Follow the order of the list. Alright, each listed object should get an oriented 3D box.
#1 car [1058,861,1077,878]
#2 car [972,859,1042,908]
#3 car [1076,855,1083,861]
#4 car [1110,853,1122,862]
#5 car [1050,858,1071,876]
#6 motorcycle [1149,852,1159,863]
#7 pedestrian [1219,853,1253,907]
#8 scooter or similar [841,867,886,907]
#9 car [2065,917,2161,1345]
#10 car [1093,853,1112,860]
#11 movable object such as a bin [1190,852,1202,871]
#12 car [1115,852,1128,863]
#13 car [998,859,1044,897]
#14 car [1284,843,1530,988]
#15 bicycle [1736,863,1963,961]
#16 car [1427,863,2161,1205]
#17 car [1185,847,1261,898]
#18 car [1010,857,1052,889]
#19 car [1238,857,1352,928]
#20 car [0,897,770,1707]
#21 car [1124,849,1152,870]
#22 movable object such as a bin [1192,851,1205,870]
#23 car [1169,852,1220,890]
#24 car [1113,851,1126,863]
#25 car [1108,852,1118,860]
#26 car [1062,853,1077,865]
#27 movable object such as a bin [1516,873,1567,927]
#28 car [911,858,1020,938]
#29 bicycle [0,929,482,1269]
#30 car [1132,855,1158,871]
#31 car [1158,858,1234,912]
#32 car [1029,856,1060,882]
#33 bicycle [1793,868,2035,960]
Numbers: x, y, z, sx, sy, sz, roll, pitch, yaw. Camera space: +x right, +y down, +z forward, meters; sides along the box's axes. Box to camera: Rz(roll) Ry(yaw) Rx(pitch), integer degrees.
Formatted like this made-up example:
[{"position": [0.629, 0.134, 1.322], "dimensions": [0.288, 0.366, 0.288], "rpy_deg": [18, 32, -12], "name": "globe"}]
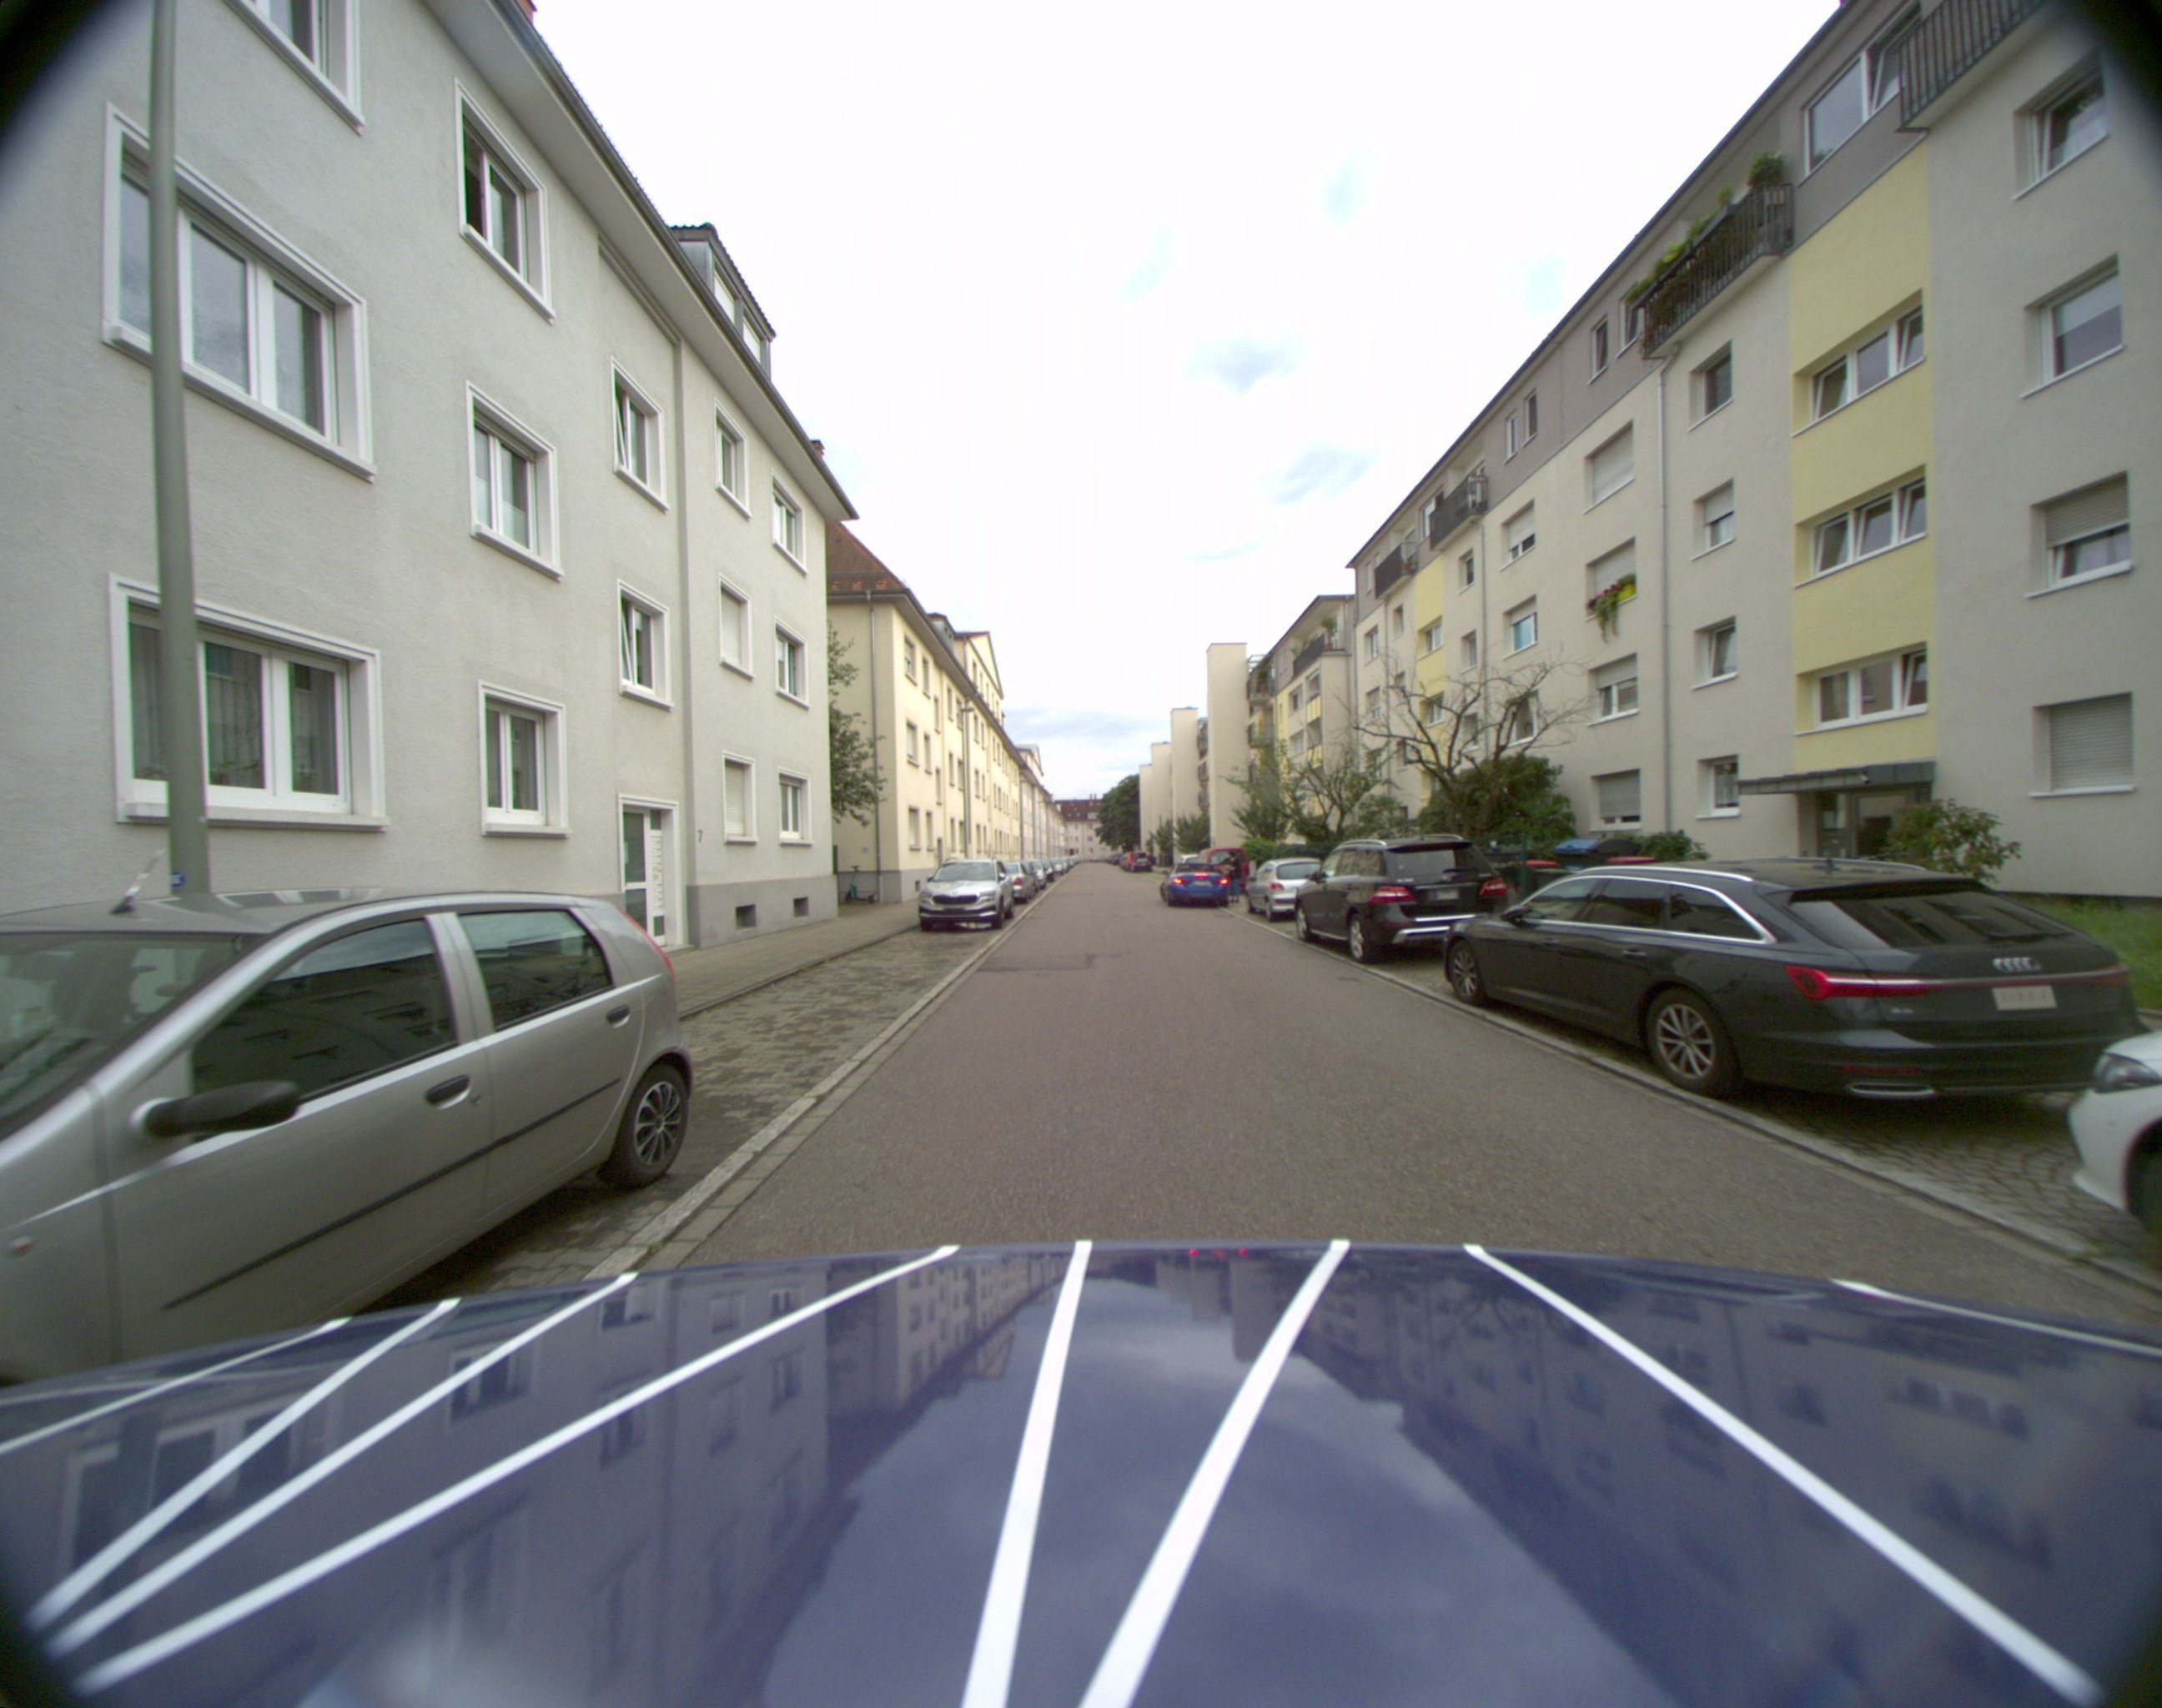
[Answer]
[{"position": [-1.328, 1.485, 74.726], "dimensions": [1.729, 1.483, 4.060], "rpy_deg": [-2, 0, 0], "name": "car"}, {"position": [-2.512, 0.977, 26.783], "dimensions": [1.729, 1.468, 4.505], "rpy_deg": [-2, 0, 3], "name": "car"}, {"position": [-0.370, 0.830, 172.185], "dimensions": [1.563, 1.334, 3.789], "rpy_deg": [-1, 0, 1], "name": "car"}, {"position": [6.578, 0.630, 143.663], "dimensions": [1.919, 1.431, 4.434], "rpy_deg": [-4, 0, -1], "name": "car"}, {"position": [-1.713, 1.100, 65.086], "dimensions": [1.729, 1.508, 4.060], "rpy_deg": [-1, 0, -1], "name": "car"}, {"position": [8.937, 0.473, 93.071], "dimensions": [0.871, 1.299, 2.420], "rpy_deg": [-3, 0, 1], "name": "motorcycle"}, {"position": [4.966, 0.813, 24.398], "dimensions": [0.744, 1.692, 0.795], "rpy_deg": [-1, 1, -20], "name": "pedestrian"}, {"position": [-7.089, 1.075, 24.771], "dimensions": [1.278, 1.238, 0.523], "rpy_deg": [-1, 0, 17], "name": "scooter or similar"}, {"position": [4.653, 0.917, 0.571], "dimensions": [1.900, 1.444, 4.520], "rpy_deg": [-4, 0, 0], "name": "car"}, {"position": [5.238, 0.587, 186.346], "dimensions": [4.545, 1.551, 1.565], "rpy_deg": [-1, 0, 5], "name": "car"}, {"position": [9.112, 0.607, 60.221], "dimensions": [0.805, 1.421, 1.288], "rpy_deg": [-3, 0, 3], "name": "movable object such as a bin"}, {"position": [6.189, 0.510, 115.825], "dimensions": [1.804, 1.617, 4.472], "rpy_deg": [-3, 0, 1], "name": "car"}, {"position": [-2.566, 1.014, 33.165], "dimensions": [1.607, 1.468, 3.869], "rpy_deg": [-2, 0, 1], "name": "car"}, {"position": [4.787, 0.786, 12.000], "dimensions": [1.900, 1.730, 4.474], "rpy_deg": [-4, 0, 1], "name": "car"}, {"position": [10.552, 0.737, 10.603], "dimensions": [0.790, 1.179, 2.355], "rpy_deg": [-1, 0, 1], "name": "bicycle"}, {"position": [4.756, 0.895, 5.976], "dimensions": [1.900, 1.444, 4.666], "rpy_deg": [-4, 0, 1], "name": "car"}, {"position": [5.455, 0.654, 29.745], "dimensions": [1.962, 1.760, 4.361], "rpy_deg": [-3, 0, -2], "name": "car"}, {"position": [-2.452, 0.914, 37.736], "dimensions": [1.853, 1.441, 3.832], "rpy_deg": [-2, 0, -1], "name": "car"}, {"position": [5.173, 0.864, 18.887], "dimensions": [1.749, 1.456, 3.786], "rpy_deg": [-3, 0, 1], "name": "car"}, {"position": [-2.976, 1.037, 2.835], "dimensions": [1.825, 1.494, 4.091], "rpy_deg": [-1, 0, 2], "name": "car"}, {"position": [5.683, 0.555, 76.077], "dimensions": [2.157, 1.942, 4.921], "rpy_deg": [-4, 0, -2], "name": "car"}, {"position": [9.097, 0.491, 58.834], "dimensions": [0.805, 1.421, 1.288], "rpy_deg": [-3, 0, 4], "name": "movable object such as a bin"}, {"position": [5.251, 0.752, 35.586], "dimensions": [1.725, 1.561, 3.870], "rpy_deg": [-4, 0, 1], "name": "car"}, {"position": [6.409, 0.479, 128.098], "dimensions": [1.891, 1.844, 4.785], "rpy_deg": [-2, 0, 0], "name": "car"}, {"position": [6.934, 0.504, 163.536], "dimensions": [2.000, 1.566, 4.210], "rpy_deg": [-4, 0, 1], "name": "car"}, {"position": [-1.580, 0.666, 103.493], "dimensions": [1.788, 1.590, 3.805], "rpy_deg": [-3, 0, 2], "name": "car"}, {"position": [8.412, 0.826, 13.886], "dimensions": [0.552, 0.949, 0.635], "rpy_deg": [-1, 1, 0], "name": "movable object such as a bin"}, {"position": [-2.601, 0.945, 18.078], "dimensions": [1.825, 1.633, 4.091], "rpy_deg": [-1, 0, 2], "name": "car"}, {"position": [-4.410, 1.095, 4.111], "dimensions": [0.531, 1.168, 2.037], "rpy_deg": [0, 0, 7], "name": "bicycle"}, {"position": [5.826, 0.803, 69.676], "dimensions": [1.875, 1.316, 4.361], "rpy_deg": [-2, 0, -1], "name": "car"}, {"position": [3.548, 0.911, 24.231], "dimensions": [1.849, 1.443, 4.501], "rpy_deg": [-2, 0, 2], "name": "car"}, {"position": [-2.269, 0.915, 48.037], "dimensions": [1.729, 1.508, 4.060], "rpy_deg": [-2, 0, -1], "name": "car"}, {"position": [11.403, 0.765, 10.574], "dimensions": [0.790, 1.074, 2.355], "rpy_deg": [-1, 0, 1], "name": "bicycle"}]
